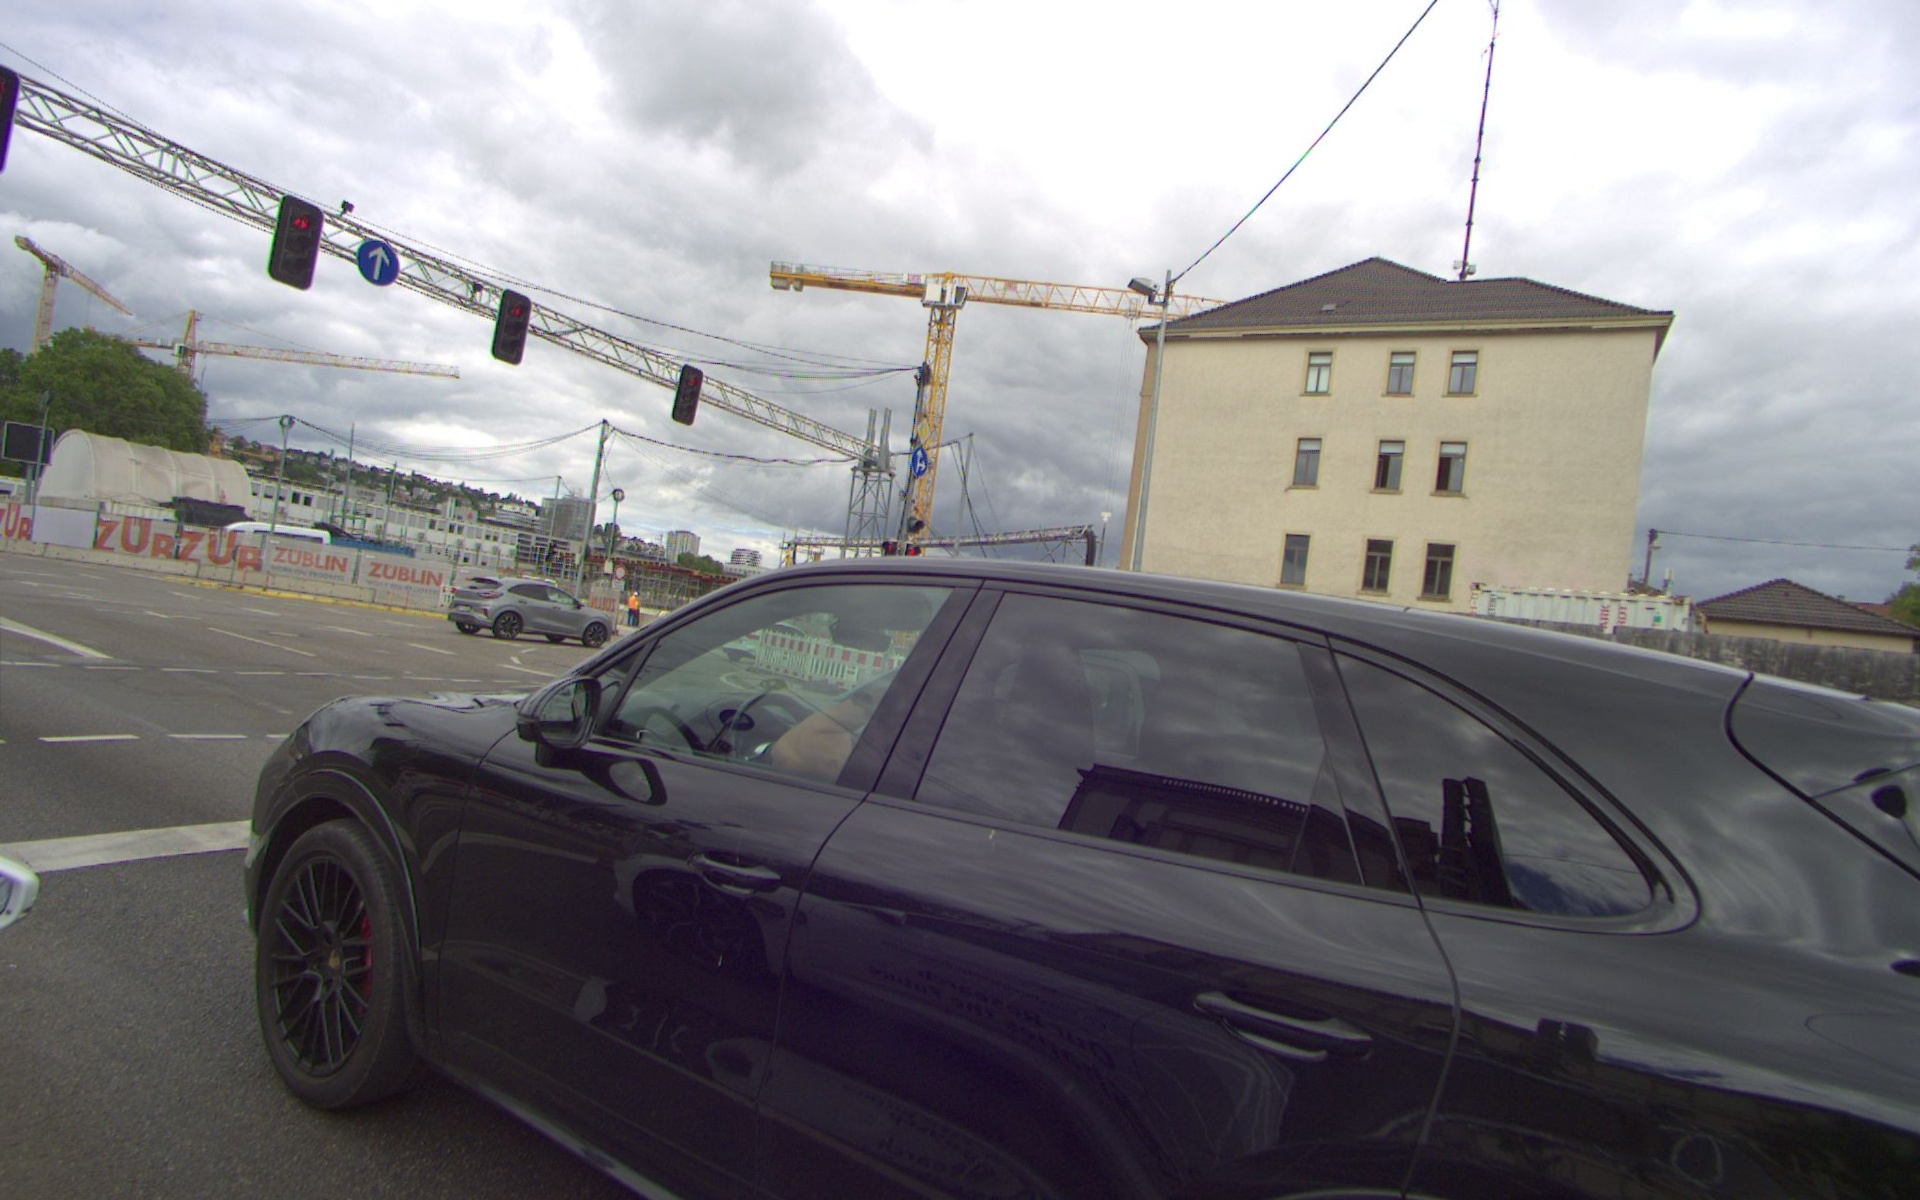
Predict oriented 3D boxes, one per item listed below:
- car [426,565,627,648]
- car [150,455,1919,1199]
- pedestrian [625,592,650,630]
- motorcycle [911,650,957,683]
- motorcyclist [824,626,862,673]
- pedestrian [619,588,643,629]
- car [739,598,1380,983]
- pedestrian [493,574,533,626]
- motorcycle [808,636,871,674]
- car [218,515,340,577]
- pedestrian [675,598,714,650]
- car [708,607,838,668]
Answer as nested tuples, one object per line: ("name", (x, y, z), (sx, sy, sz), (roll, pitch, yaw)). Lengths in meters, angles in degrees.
("car", (-11.024, 0.235, 25.906), (1.966, 1.557, 4.305), (6, -2, 29))
("car", (-0.003, 0.689, 2.711), (4.505, 1.687, 1.997), (6, -2, 34))
("pedestrian", (-17.550, 0.595, 54.787), (0.850, 1.938, 0.680), (7, -1, 26))
("motorcycle", (-1.039, 2.690, 40.524), (0.641, 1.168, 2.171), (6, -2, 32))
("motorcyclist", (-4.241, 1.804, 36.559), (0.804, 1.589, 0.880), (6, -1, 32))
("pedestrian", (-17.575, 0.449, 53.692), (0.855, 2.037, 0.677), (6, -1, 44))
("car", (0.579, 0.998, 6.547), (3.587, 1.527, 1.825), (6, -2, 33))
("pedestrian", (-17.395, 0.018, 39.165), (1.040, 1.869, 0.781), (8, -1, -42))
("motorcycle", (-4.343, 2.012, 36.425), (0.804, 1.168, 2.427), (6, -2, 32))
("car", (-29.523, -2.329, 43.640), (3.976, 2.037, 1.976), (9, -2, -43))
("pedestrian", (-11.471, 1.038, 43.482), (1.032, 2.037, 1.030), (6, -1, 41))
("car", (-6.929, 1.458, 37.778), (1.968, 1.721, 4.677), (6, -2, 34))
